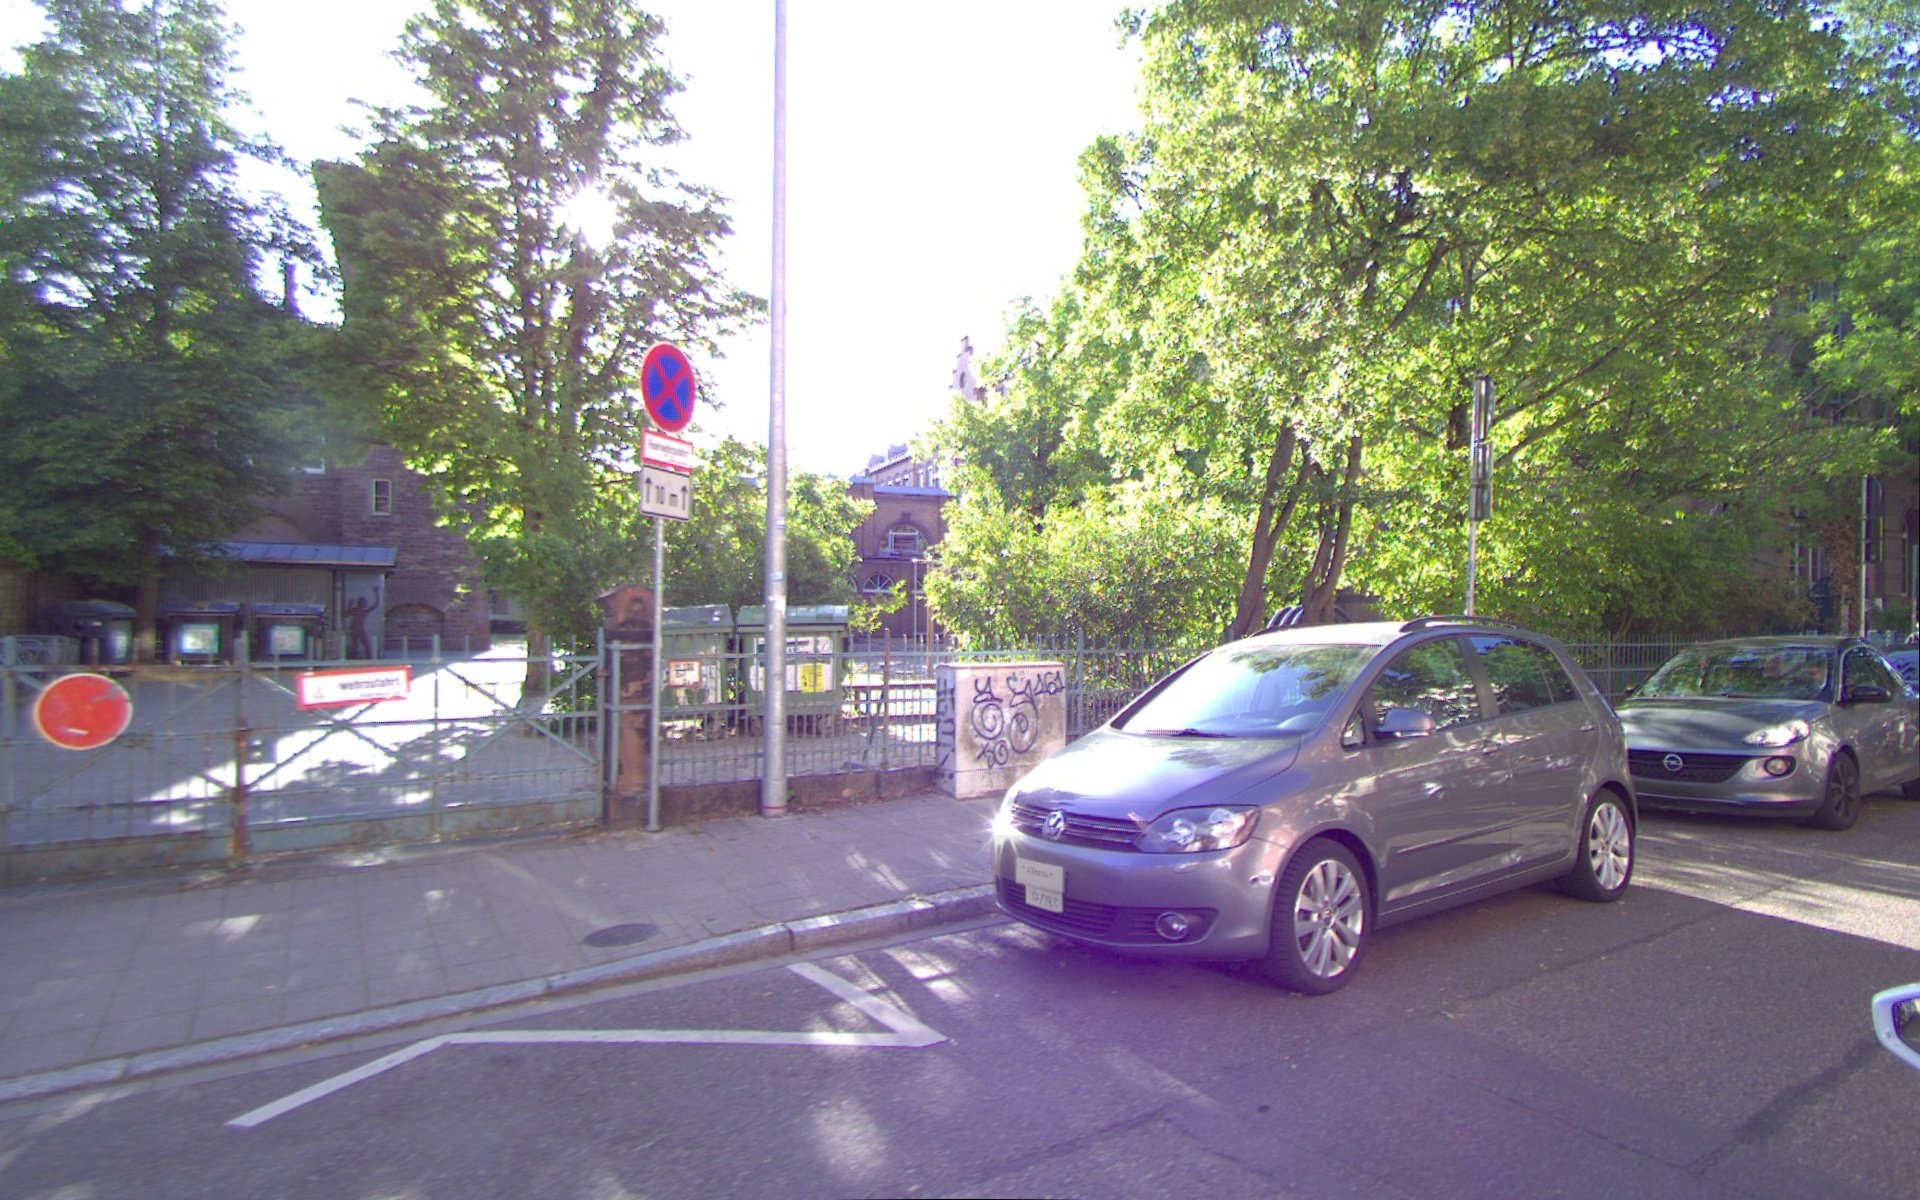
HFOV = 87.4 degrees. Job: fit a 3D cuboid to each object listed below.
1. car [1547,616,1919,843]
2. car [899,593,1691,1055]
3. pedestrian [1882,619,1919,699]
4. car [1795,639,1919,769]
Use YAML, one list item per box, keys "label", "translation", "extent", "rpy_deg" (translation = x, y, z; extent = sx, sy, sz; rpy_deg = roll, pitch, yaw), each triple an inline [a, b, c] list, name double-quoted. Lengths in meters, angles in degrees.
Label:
- label: "car"
  translation: [7.157, 0.982, 8.876]
  extent: [4.106, 1.593, 1.667]
  rpy_deg: [1, -4, -33]
- label: "car"
  translation: [2.021, 0.857, 5.517]
  extent: [4.422, 1.611, 1.770]
  rpy_deg: [1, -3, -34]
- label: "pedestrian"
  translation: [19.192, 1.178, 20.181]
  extent: [0.523, 1.598, 0.876]
  rpy_deg: [1, 0, -32]
- label: "car"
  translation: [12.282, 1.179, 12.428]
  extent: [4.730, 1.413, 1.704]
  rpy_deg: [1, -5, -35]
